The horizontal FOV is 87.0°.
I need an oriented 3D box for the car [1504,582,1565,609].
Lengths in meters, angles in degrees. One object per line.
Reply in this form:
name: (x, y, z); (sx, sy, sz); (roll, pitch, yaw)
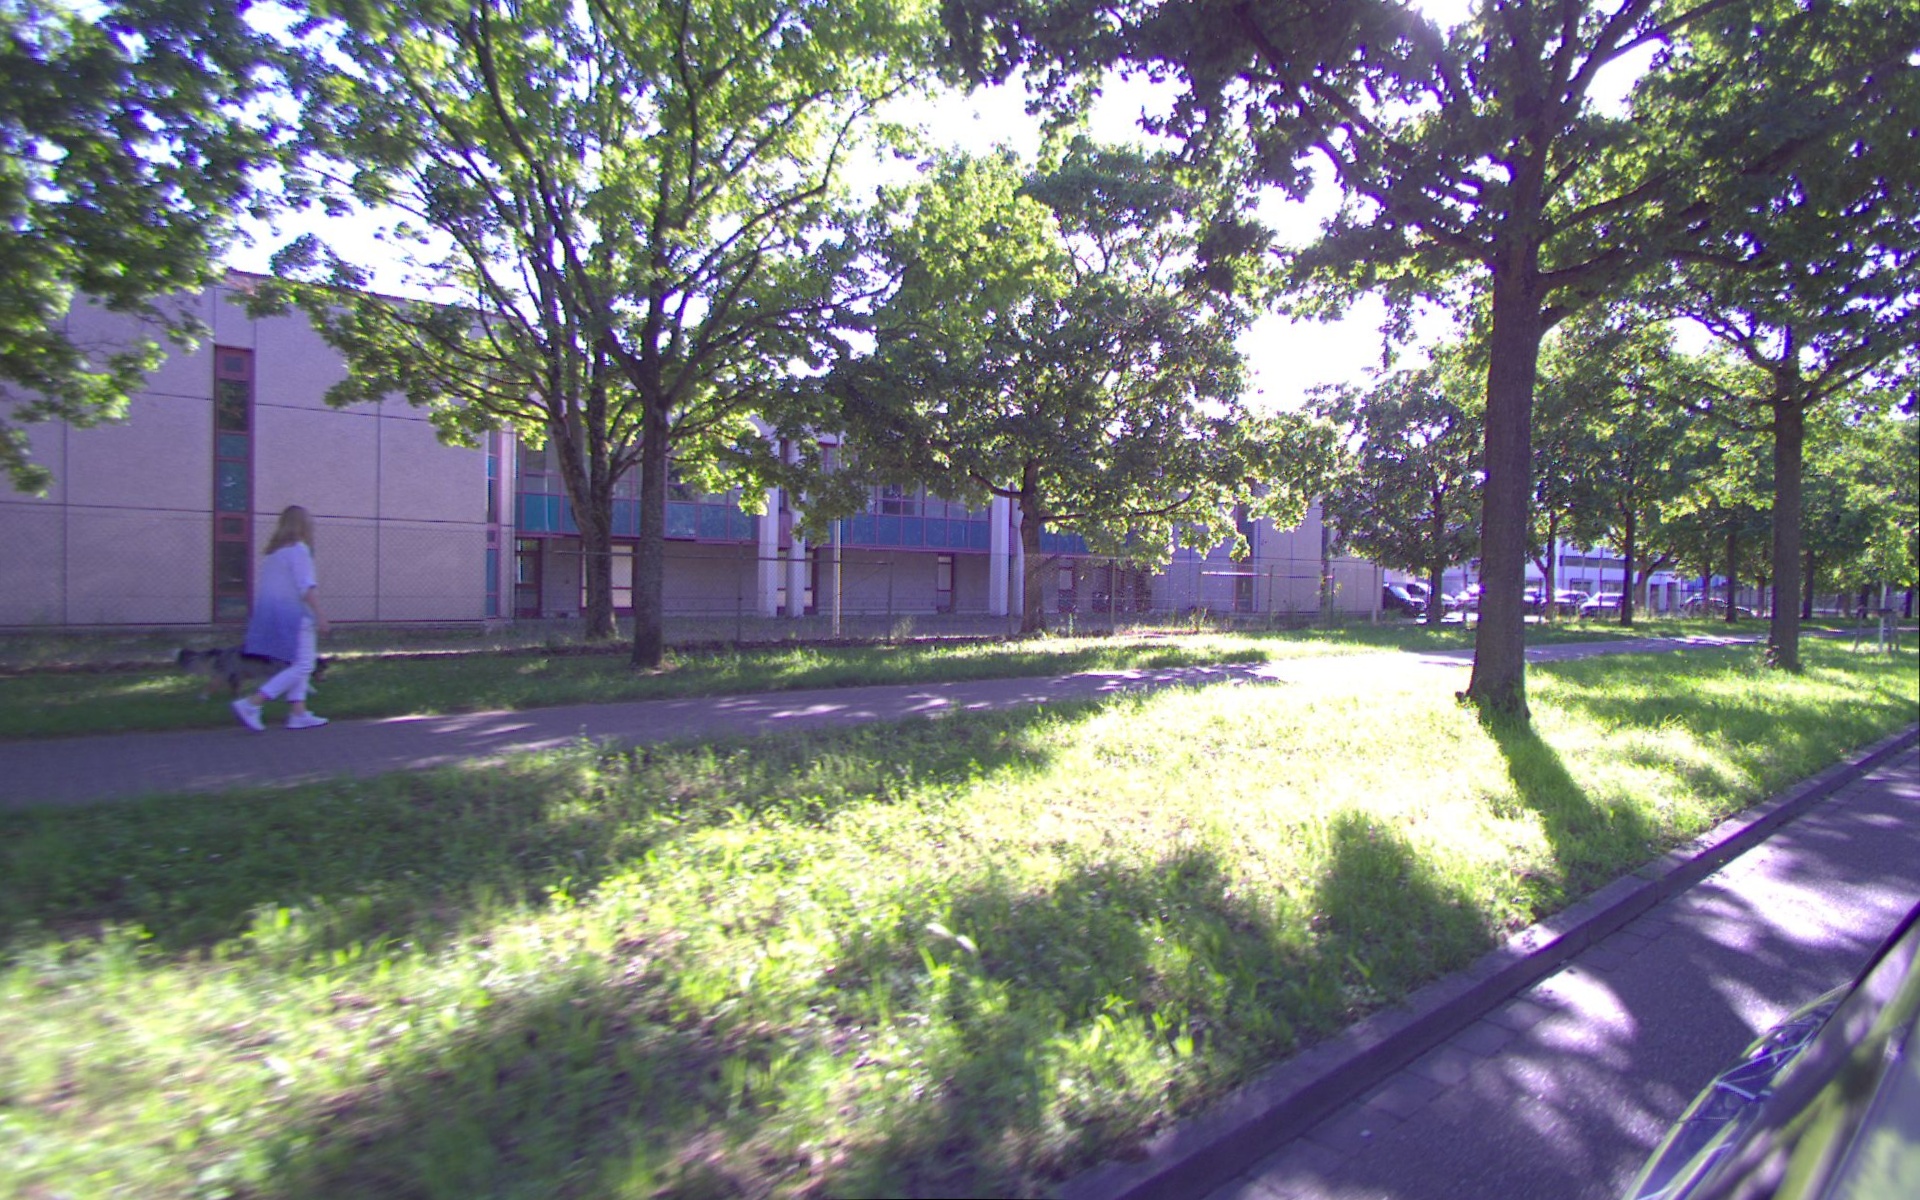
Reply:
car: (37.437, -0.307, 65.911); (4.376, 1.694, 1.998); (0, 2, -40)

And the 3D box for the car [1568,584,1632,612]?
car: (39.652, -0.164, 62.669); (4.632, 1.626, 1.998); (-1, 2, -39)

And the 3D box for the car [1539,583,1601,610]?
car: (38.782, -0.222, 64.338); (4.376, 1.578, 1.998); (0, 2, -40)

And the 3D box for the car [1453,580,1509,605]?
car: (35.297, -0.512, 68.538); (4.381, 1.694, 1.996); (-1, 0, -43)

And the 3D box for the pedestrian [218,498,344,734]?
pedestrian: (-5.048, 0.097, 7.518); (0.706, 1.650, 0.609); (1, 3, -39)

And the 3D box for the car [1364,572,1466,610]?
car: (26.362, -0.543, 58.814); (1.862, 1.983, 5.072); (0, 3, -42)

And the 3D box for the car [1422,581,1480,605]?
car: (34.688, -0.523, 71.461); (4.369, 1.677, 1.701); (0, 0, -32)
